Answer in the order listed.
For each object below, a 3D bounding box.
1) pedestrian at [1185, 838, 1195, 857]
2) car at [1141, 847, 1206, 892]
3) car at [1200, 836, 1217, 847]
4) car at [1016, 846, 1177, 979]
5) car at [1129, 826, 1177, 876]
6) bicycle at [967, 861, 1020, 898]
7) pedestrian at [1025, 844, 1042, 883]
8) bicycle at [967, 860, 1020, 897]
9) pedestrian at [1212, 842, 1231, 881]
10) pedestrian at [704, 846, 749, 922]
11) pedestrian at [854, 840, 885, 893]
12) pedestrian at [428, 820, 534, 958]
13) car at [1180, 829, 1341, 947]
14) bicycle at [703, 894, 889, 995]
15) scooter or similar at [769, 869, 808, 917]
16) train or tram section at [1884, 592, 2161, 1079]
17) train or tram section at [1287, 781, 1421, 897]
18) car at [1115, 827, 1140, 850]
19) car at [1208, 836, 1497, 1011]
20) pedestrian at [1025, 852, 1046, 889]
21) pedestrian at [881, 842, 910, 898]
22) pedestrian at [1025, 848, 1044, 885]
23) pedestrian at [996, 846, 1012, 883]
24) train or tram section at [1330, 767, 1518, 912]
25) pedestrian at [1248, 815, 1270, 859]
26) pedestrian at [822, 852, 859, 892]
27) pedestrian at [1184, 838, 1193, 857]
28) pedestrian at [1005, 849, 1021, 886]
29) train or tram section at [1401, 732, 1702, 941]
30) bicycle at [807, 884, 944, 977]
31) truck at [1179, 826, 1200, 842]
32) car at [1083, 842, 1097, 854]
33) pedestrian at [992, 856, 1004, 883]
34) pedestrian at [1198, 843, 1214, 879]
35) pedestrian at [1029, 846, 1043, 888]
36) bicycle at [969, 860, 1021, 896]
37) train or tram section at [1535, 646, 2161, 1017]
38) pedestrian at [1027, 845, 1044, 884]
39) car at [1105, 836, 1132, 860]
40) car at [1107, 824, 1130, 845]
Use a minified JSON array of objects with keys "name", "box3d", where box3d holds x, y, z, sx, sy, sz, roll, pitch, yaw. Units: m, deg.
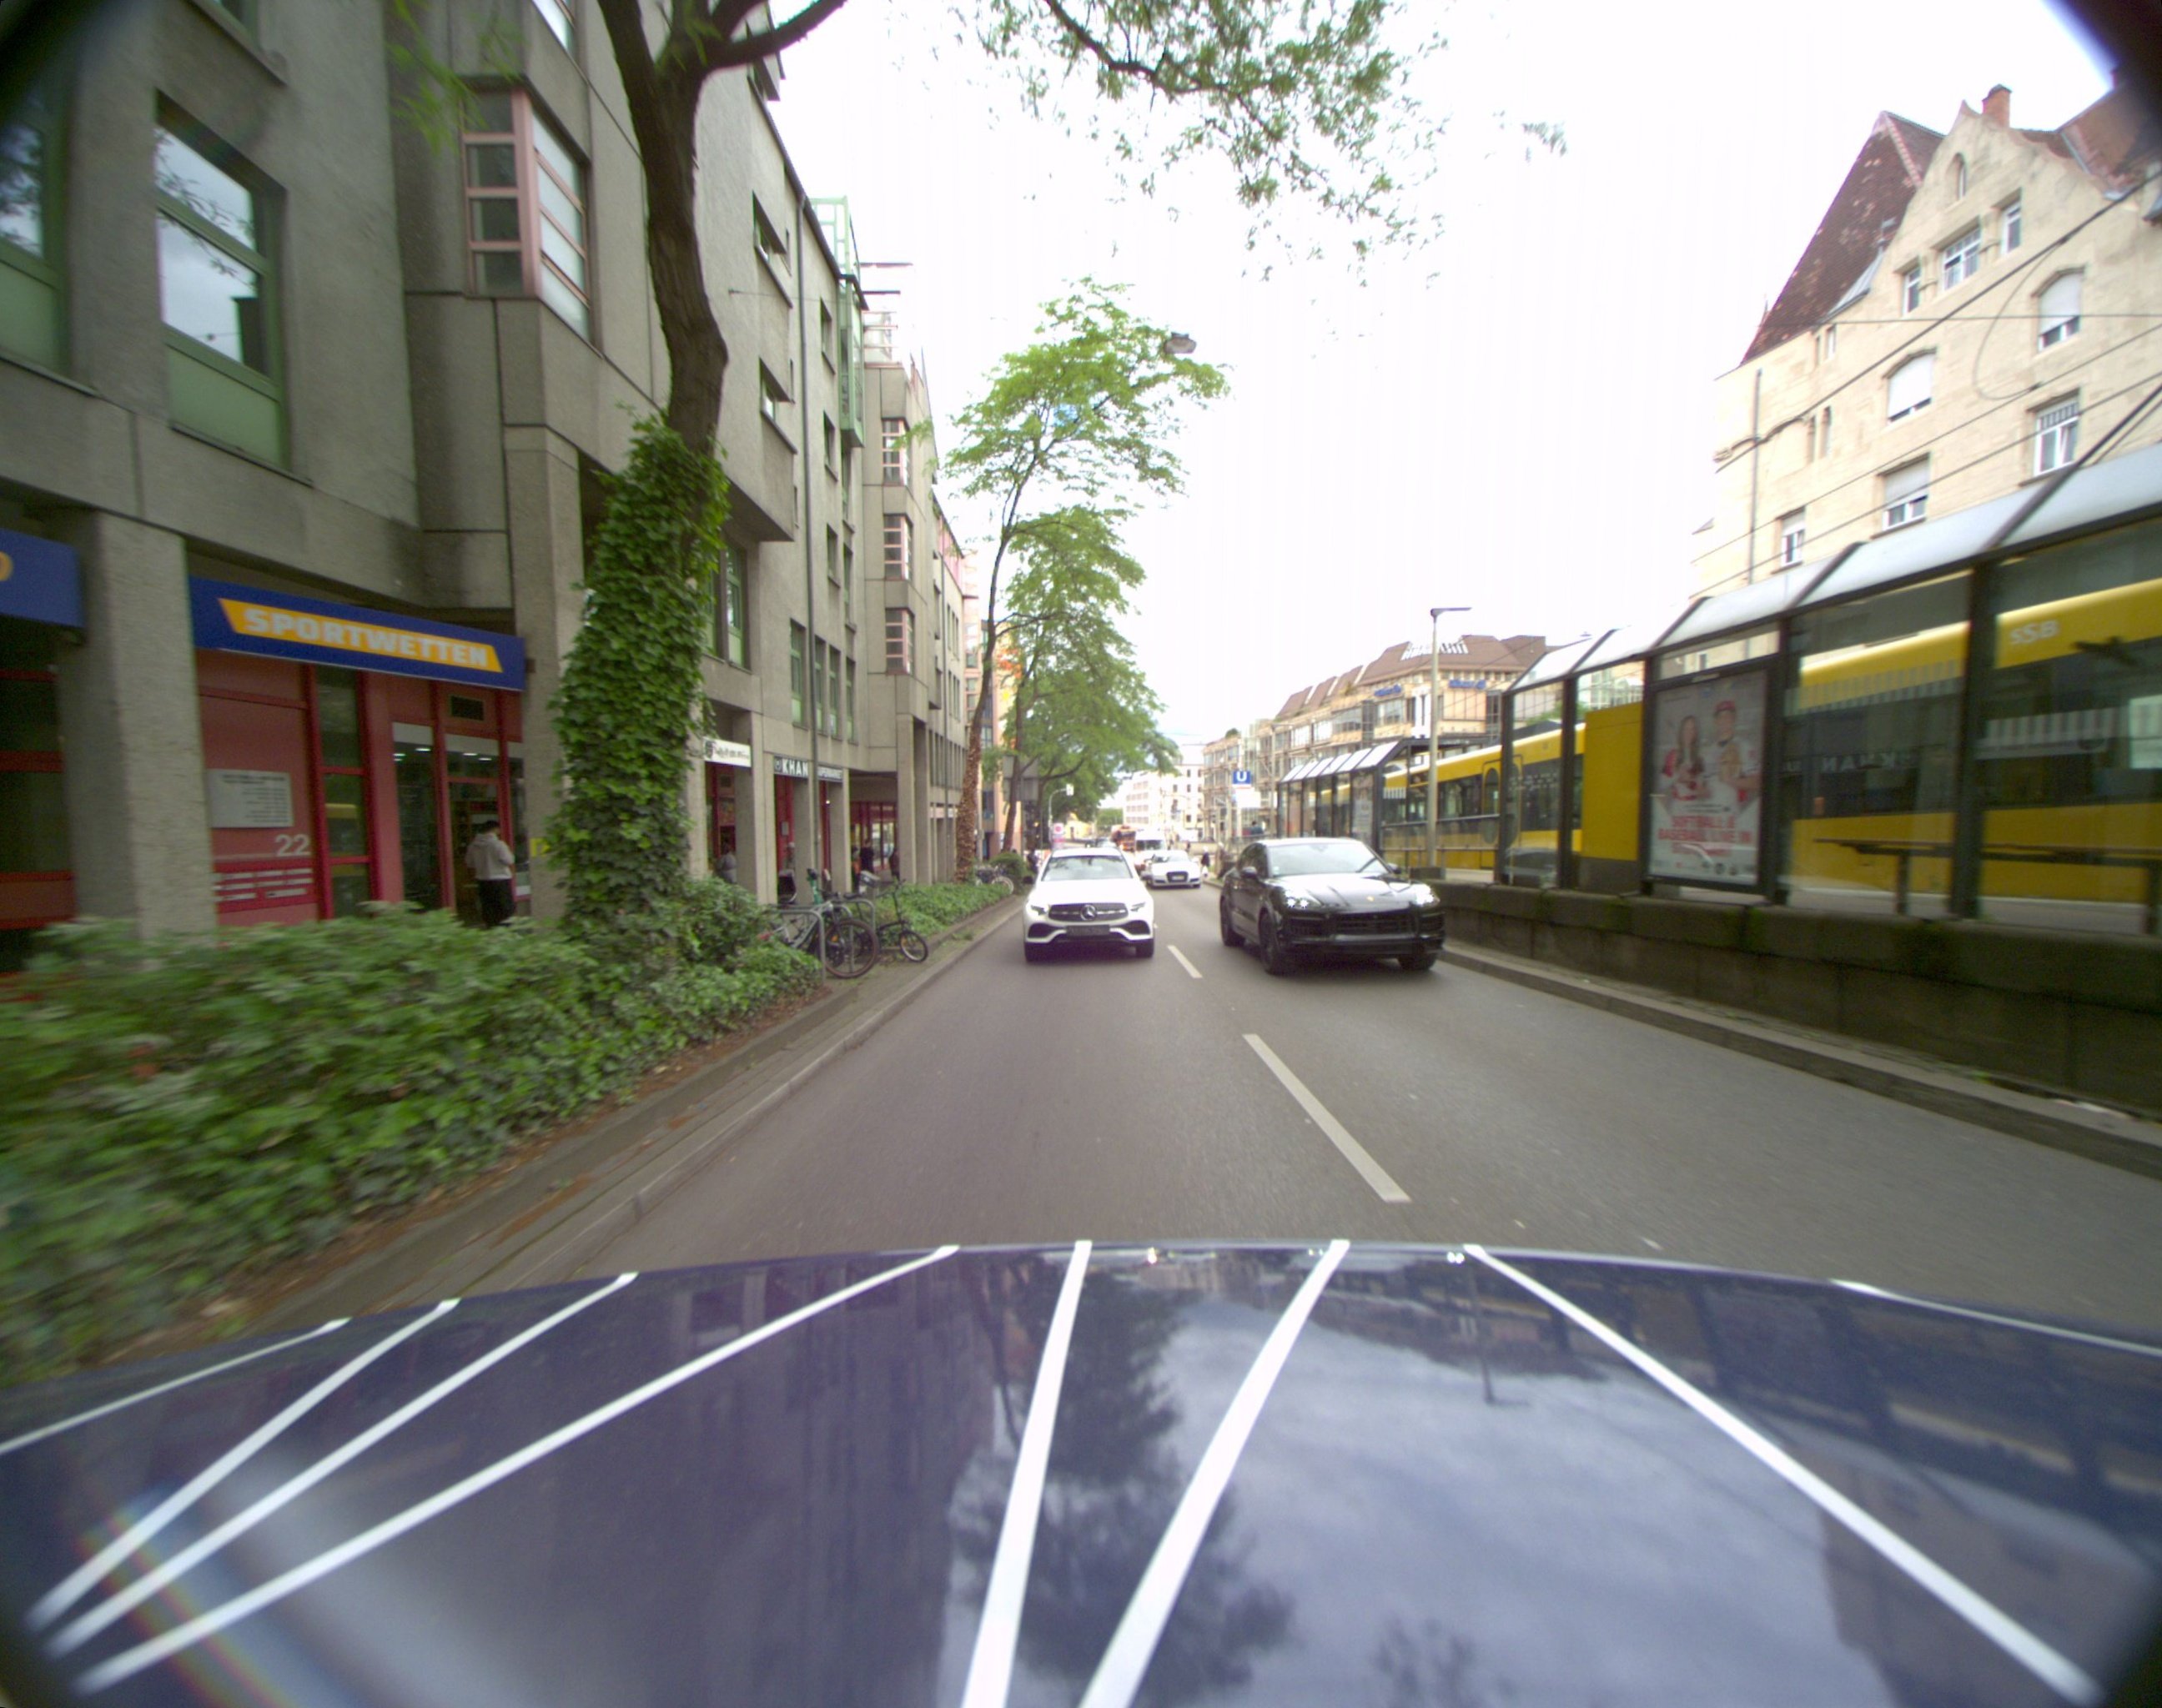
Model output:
[{"name":"pedestrian","box3d":[9.937,-0.632,69.440,0.793,1.712,0.772,-1,2,1]},{"name":"car","box3d":[3.597,0.564,30.294,1.950,1.522,3.998,-2,2,-2]},{"name":"car","box3d":[22.154,-2.202,131.889,1.678,1.749,4.778,-2,2,-5]},{"name":"car","box3d":[0.057,0.758,12.057,2.061,1.599,3.923,-2,2,-5]},{"name":"car","box3d":[4.299,-0.257,46.247,2.281,2.744,5.938,-2,2,1]},{"name":"bicycle","box3d":[-2.854,0.830,24.892,1.713,1.177,0.448,1,2,-6]},{"name":"pedestrian","box3d":[-2.340,0.450,37.433,0.736,1.864,0.733,-1,2,-3]},{"name":"bicycle","box3d":[-2.911,0.820,25.359,1.713,1.177,0.448,1,2,-6]},{"name":"pedestrian","box3d":[6.207,0.335,33.683,0.687,1.701,0.711,-1,1,1]},{"name":"pedestrian","box3d":[-7.656,0.640,16.420,0.618,1.602,0.779,0,-1,-3]},{"name":"pedestrian","box3d":[-7.319,0.432,26.273,0.834,1.792,0.723,1,-1,1]},{"name":"pedestrian","box3d":[-8.183,0.466,10.394,0.833,1.792,0.724,1,-1,4]},{"name":"car","box3d":[3.518,0.534,16.048,2.370,2.002,5.147,-2,2,3]},{"name":"bicycle","box3d":[-3.274,1.039,8.842,1.921,1.070,0.613,1,1,-2]},{"name":"scooter or similar","box3d":[-7.326,0.955,19.016,0.765,1.103,0.856,-1,3,-31]},{"name":"train or tram section","box3d":[9.164,-0.155,4.481,2.842,3.501,5.751,-2,1,2]},{"name":"train or tram section","box3d":[9.639,-0.529,27.538,2.842,3.658,5.751,-2,1,2]},{"name":"car","box3d":[6.111,-2.099,100.427,2.504,2.793,5.724,-2,2,-4]},{"name":"car","box3d":[3.122,0.668,10.172,2.088,1.665,5.352,-2,0,2]},{"name":"pedestrian","box3d":[-2.014,0.718,33.746,0.838,1.554,0.764,-2,2,-3]},{"name":"pedestrian","box3d":[-5.974,0.495,24.524,0.764,1.773,0.847,0,2,-4]},{"name":"pedestrian","box3d":[-2.114,0.563,34.725,0.838,1.694,0.764,1,2,-3]},{"name":"pedestrian","box3d":[-3.751,0.501,37.169,0.723,1.792,0.834,1,-1,-3]},{"name":"train or tram section","box3d":[9.468,-0.402,21.775,2.842,3.501,5.751,-2,1,2]},{"name":"pedestrian","box3d":[7.151,-0.667,30.499,0.719,1.721,0.670,-2,2,3]},{"name":"pedestrian","box3d":[-8.361,0.612,26.449,1.059,1.356,0.756,1,1,-5]},{"name":"pedestrian","box3d":[9.955,-0.601,70.244,0.766,1.712,0.637,-1,2,1]},{"name":"pedestrian","box3d":[-2.977,0.608,33.358,0.618,1.602,0.764,1,-1,-9]},{"name":"train or tram section","box3d":[9.360,-0.342,16.021,2.842,3.501,5.751,-2,1,2]},{"name":"bicycle","box3d":[-2.701,0.989,10.048,1.623,1.121,0.613,1,2,5]},{"name":"truck","box3d":[21.057,-3.887,147.650,2.273,3.059,7.368,1,2,-5]},{"name":"car","box3d":[1.260,-0.876,109.618,1.949,1.522,3.998,-2,2,-1]},{"name":"pedestrian","box3d":[-4.166,0.768,38.163,0.472,1.326,0.519,-2,2,-3]},{"name":"pedestrian","box3d":[6.005,0.319,36.500,0.637,1.701,0.871,-1,1,1]},{"name":"pedestrian","box3d":[-1.970,0.547,33.185,0.520,1.779,0.764,-2,2,-3]},{"name":"bicycle","box3d":[-2.922,0.814,25.813,1.713,1.177,0.448,1,2,-6]},{"name":"train or tram section","box3d":[9.227,-0.253,10.240,2.842,3.501,5.751,-2,1,2]},{"name":"pedestrian","box3d":[-2.159,0.496,35.934,0.695,1.767,0.689,3,2,-3]},{"name":"car","box3d":[3.675,-0.642,76.063,2.503,2.145,5.726,-2,2,2]},{"name":"car","box3d":[5.325,-2.845,107.945,2.504,2.793,5.724,-2,2,-4]}]
